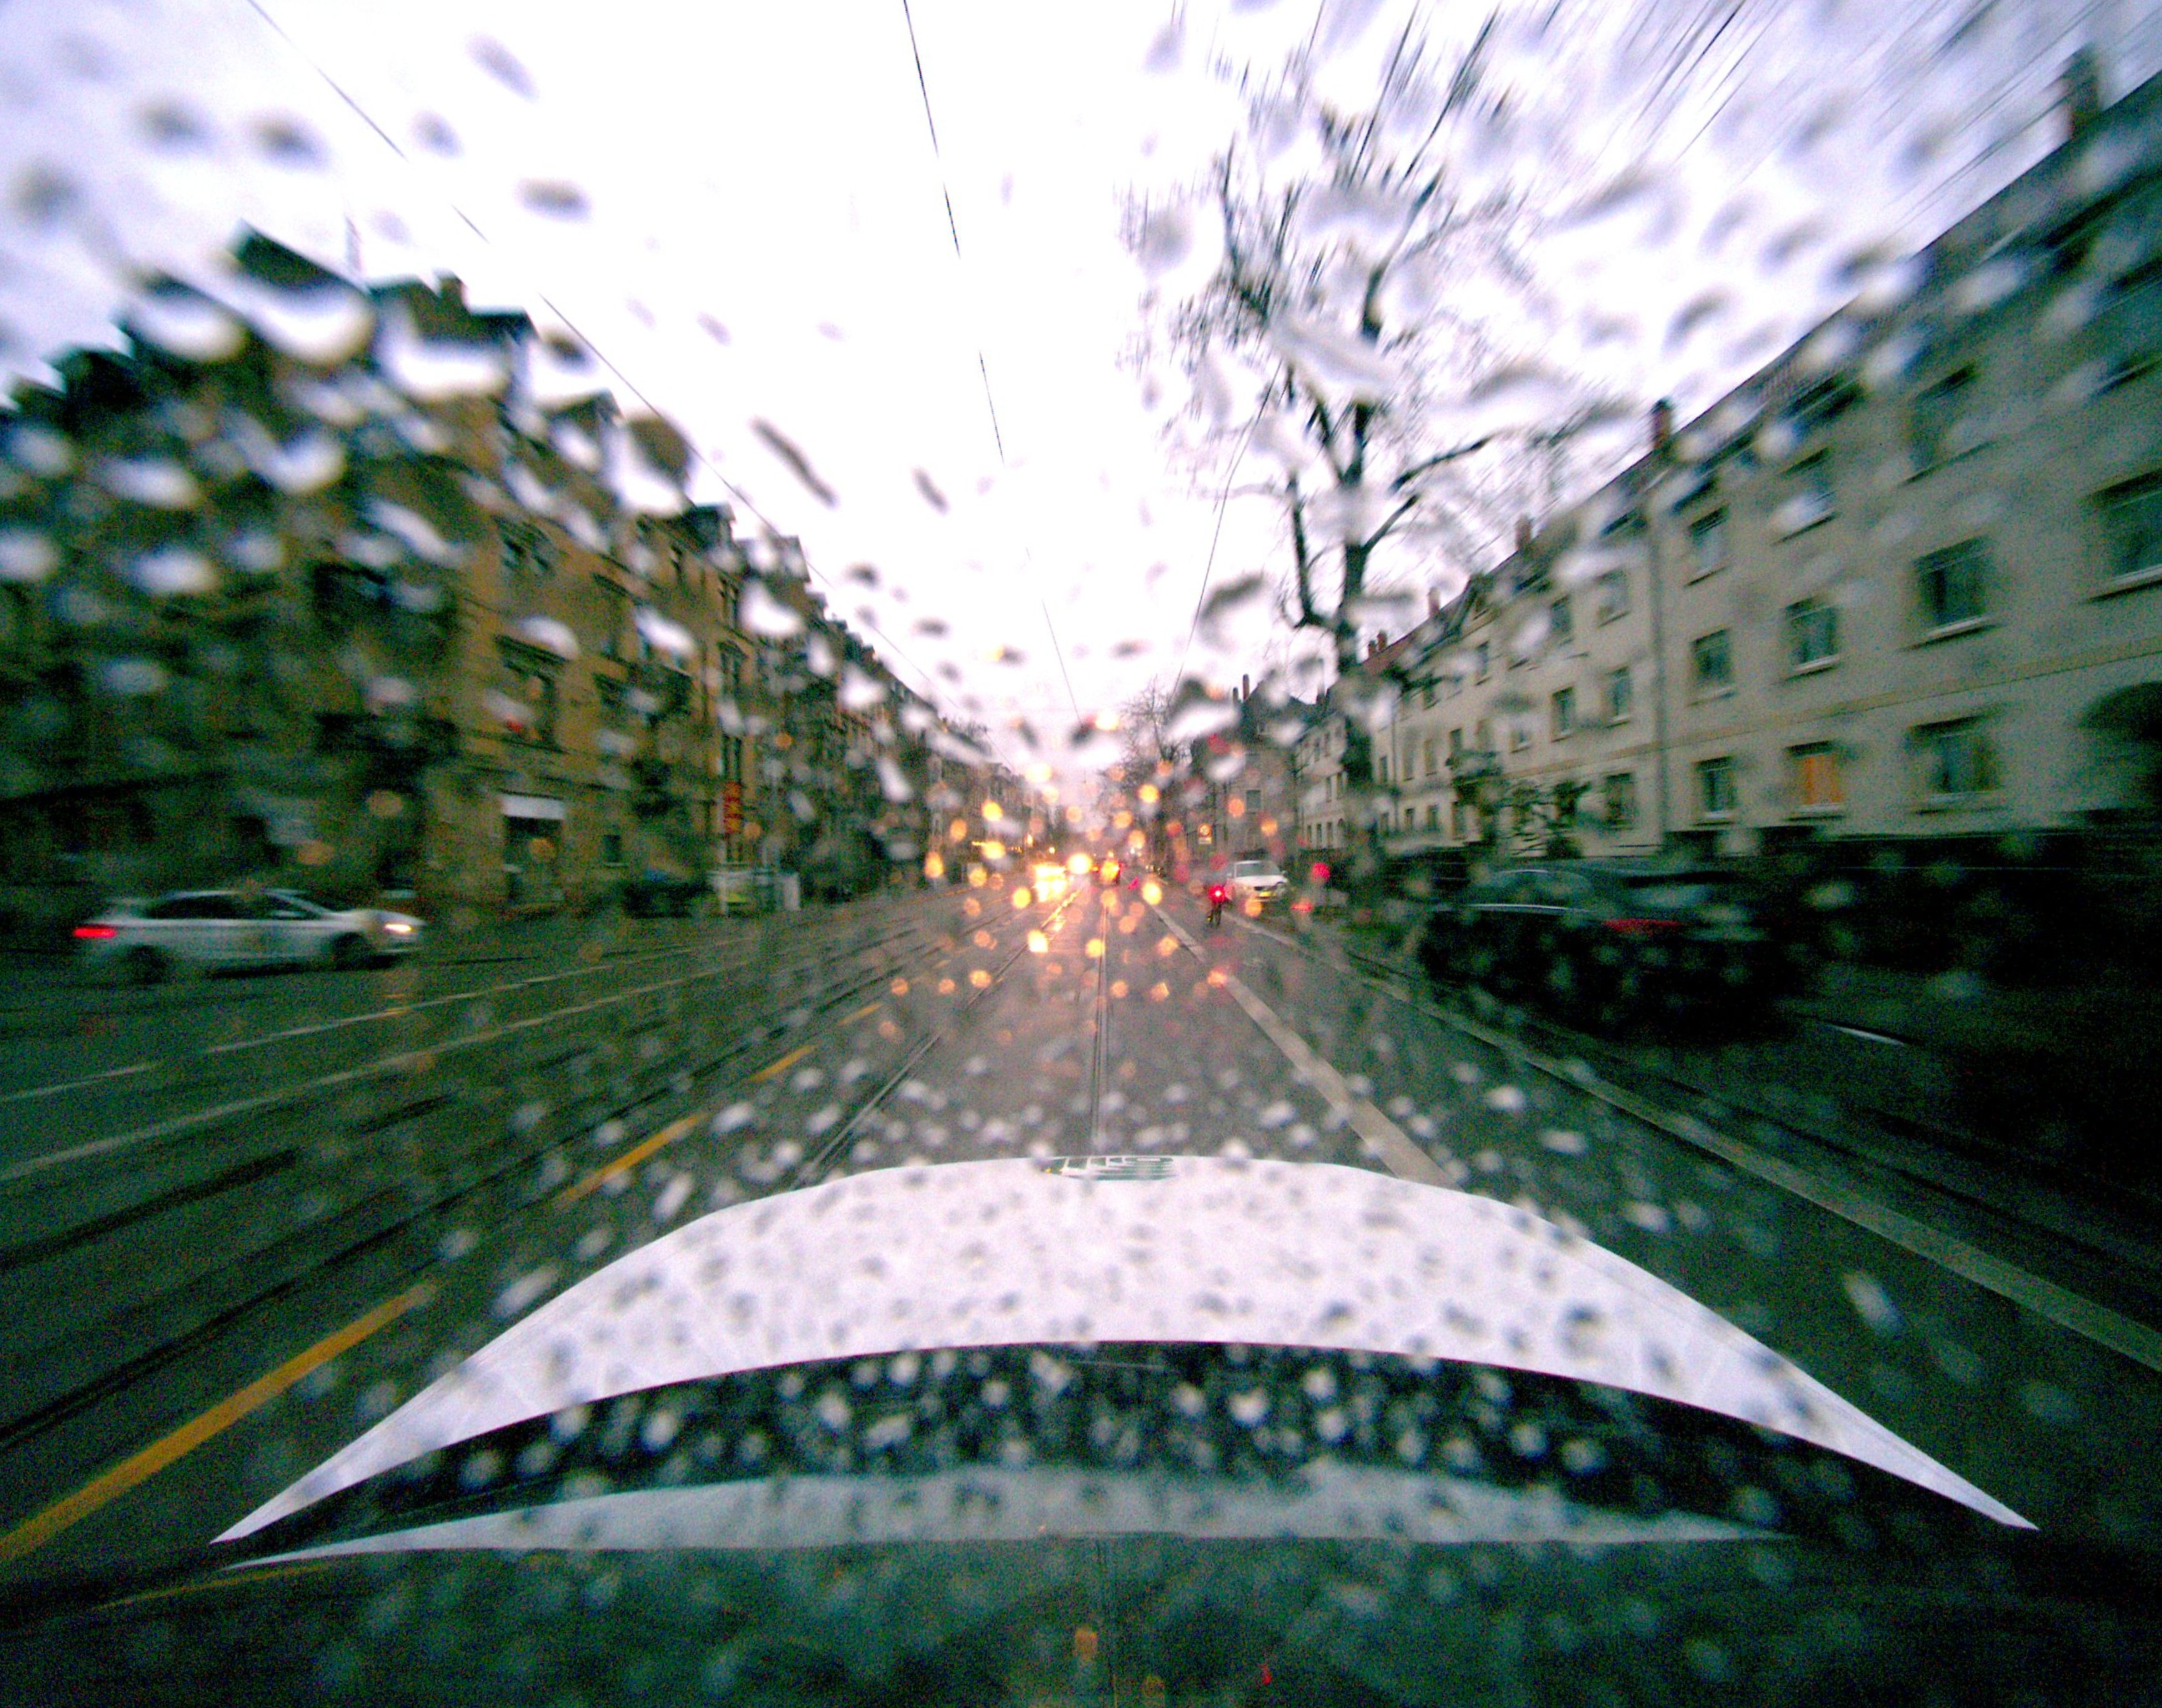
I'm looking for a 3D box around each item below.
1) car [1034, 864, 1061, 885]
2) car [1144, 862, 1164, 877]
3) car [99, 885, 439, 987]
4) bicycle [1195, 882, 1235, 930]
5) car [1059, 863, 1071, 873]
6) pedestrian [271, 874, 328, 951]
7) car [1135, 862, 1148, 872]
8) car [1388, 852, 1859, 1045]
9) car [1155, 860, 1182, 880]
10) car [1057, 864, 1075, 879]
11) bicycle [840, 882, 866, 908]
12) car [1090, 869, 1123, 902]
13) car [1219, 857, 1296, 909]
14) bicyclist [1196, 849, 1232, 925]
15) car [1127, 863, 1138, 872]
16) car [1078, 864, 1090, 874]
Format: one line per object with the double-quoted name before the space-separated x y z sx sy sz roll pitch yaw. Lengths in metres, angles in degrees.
"car" -2.766 1.714 68.684 1.916 1.662 4.001 -2 -1 2
"car" 7.353 1.560 82.510 1.778 1.509 4.110 -2 -1 2
"car" -15.003 1.432 15.451 4.187 1.526 1.980 -1 -1 -31
"bicycle" 3.123 1.201 19.131 0.728 1.007 1.765 -1 -1 3
"car" -2.902 2.535 144.975 1.916 1.720 4.001 -2 -1 2
"pedestrian" -18.540 1.363 19.333 0.721 1.773 0.765 -1 -1 -22
"car" 9.524 2.081 128.169 1.778 1.509 4.110 -2 -1 2
"car" 5.057 0.752 8.509 1.874 1.420 4.340 -2 -1 -2
"car" 6.889 1.268 64.486 1.778 1.509 4.110 -2 -1 2
"car" -1.755 2.043 95.622 1.916 1.662 4.001 -2 -1 2
"bicycle" -9.611 1.705 34.413 0.494 1.007 1.765 -1 -1 3
"car" 1.613 1.927 50.666 1.793 1.871 4.023 1 -1 5
"car" 5.681 0.901 26.676 1.778 1.509 4.111 -2 -1 3
"bicyclist" 3.111 0.764 19.125 0.727 1.736 0.766 -1 -1 3
"car" 8.877 2.299 141.377 1.778 1.509 4.110 -2 -1 2
"car" 0.508 2.626 142.217 1.916 1.662 4.001 -2 -1 2
